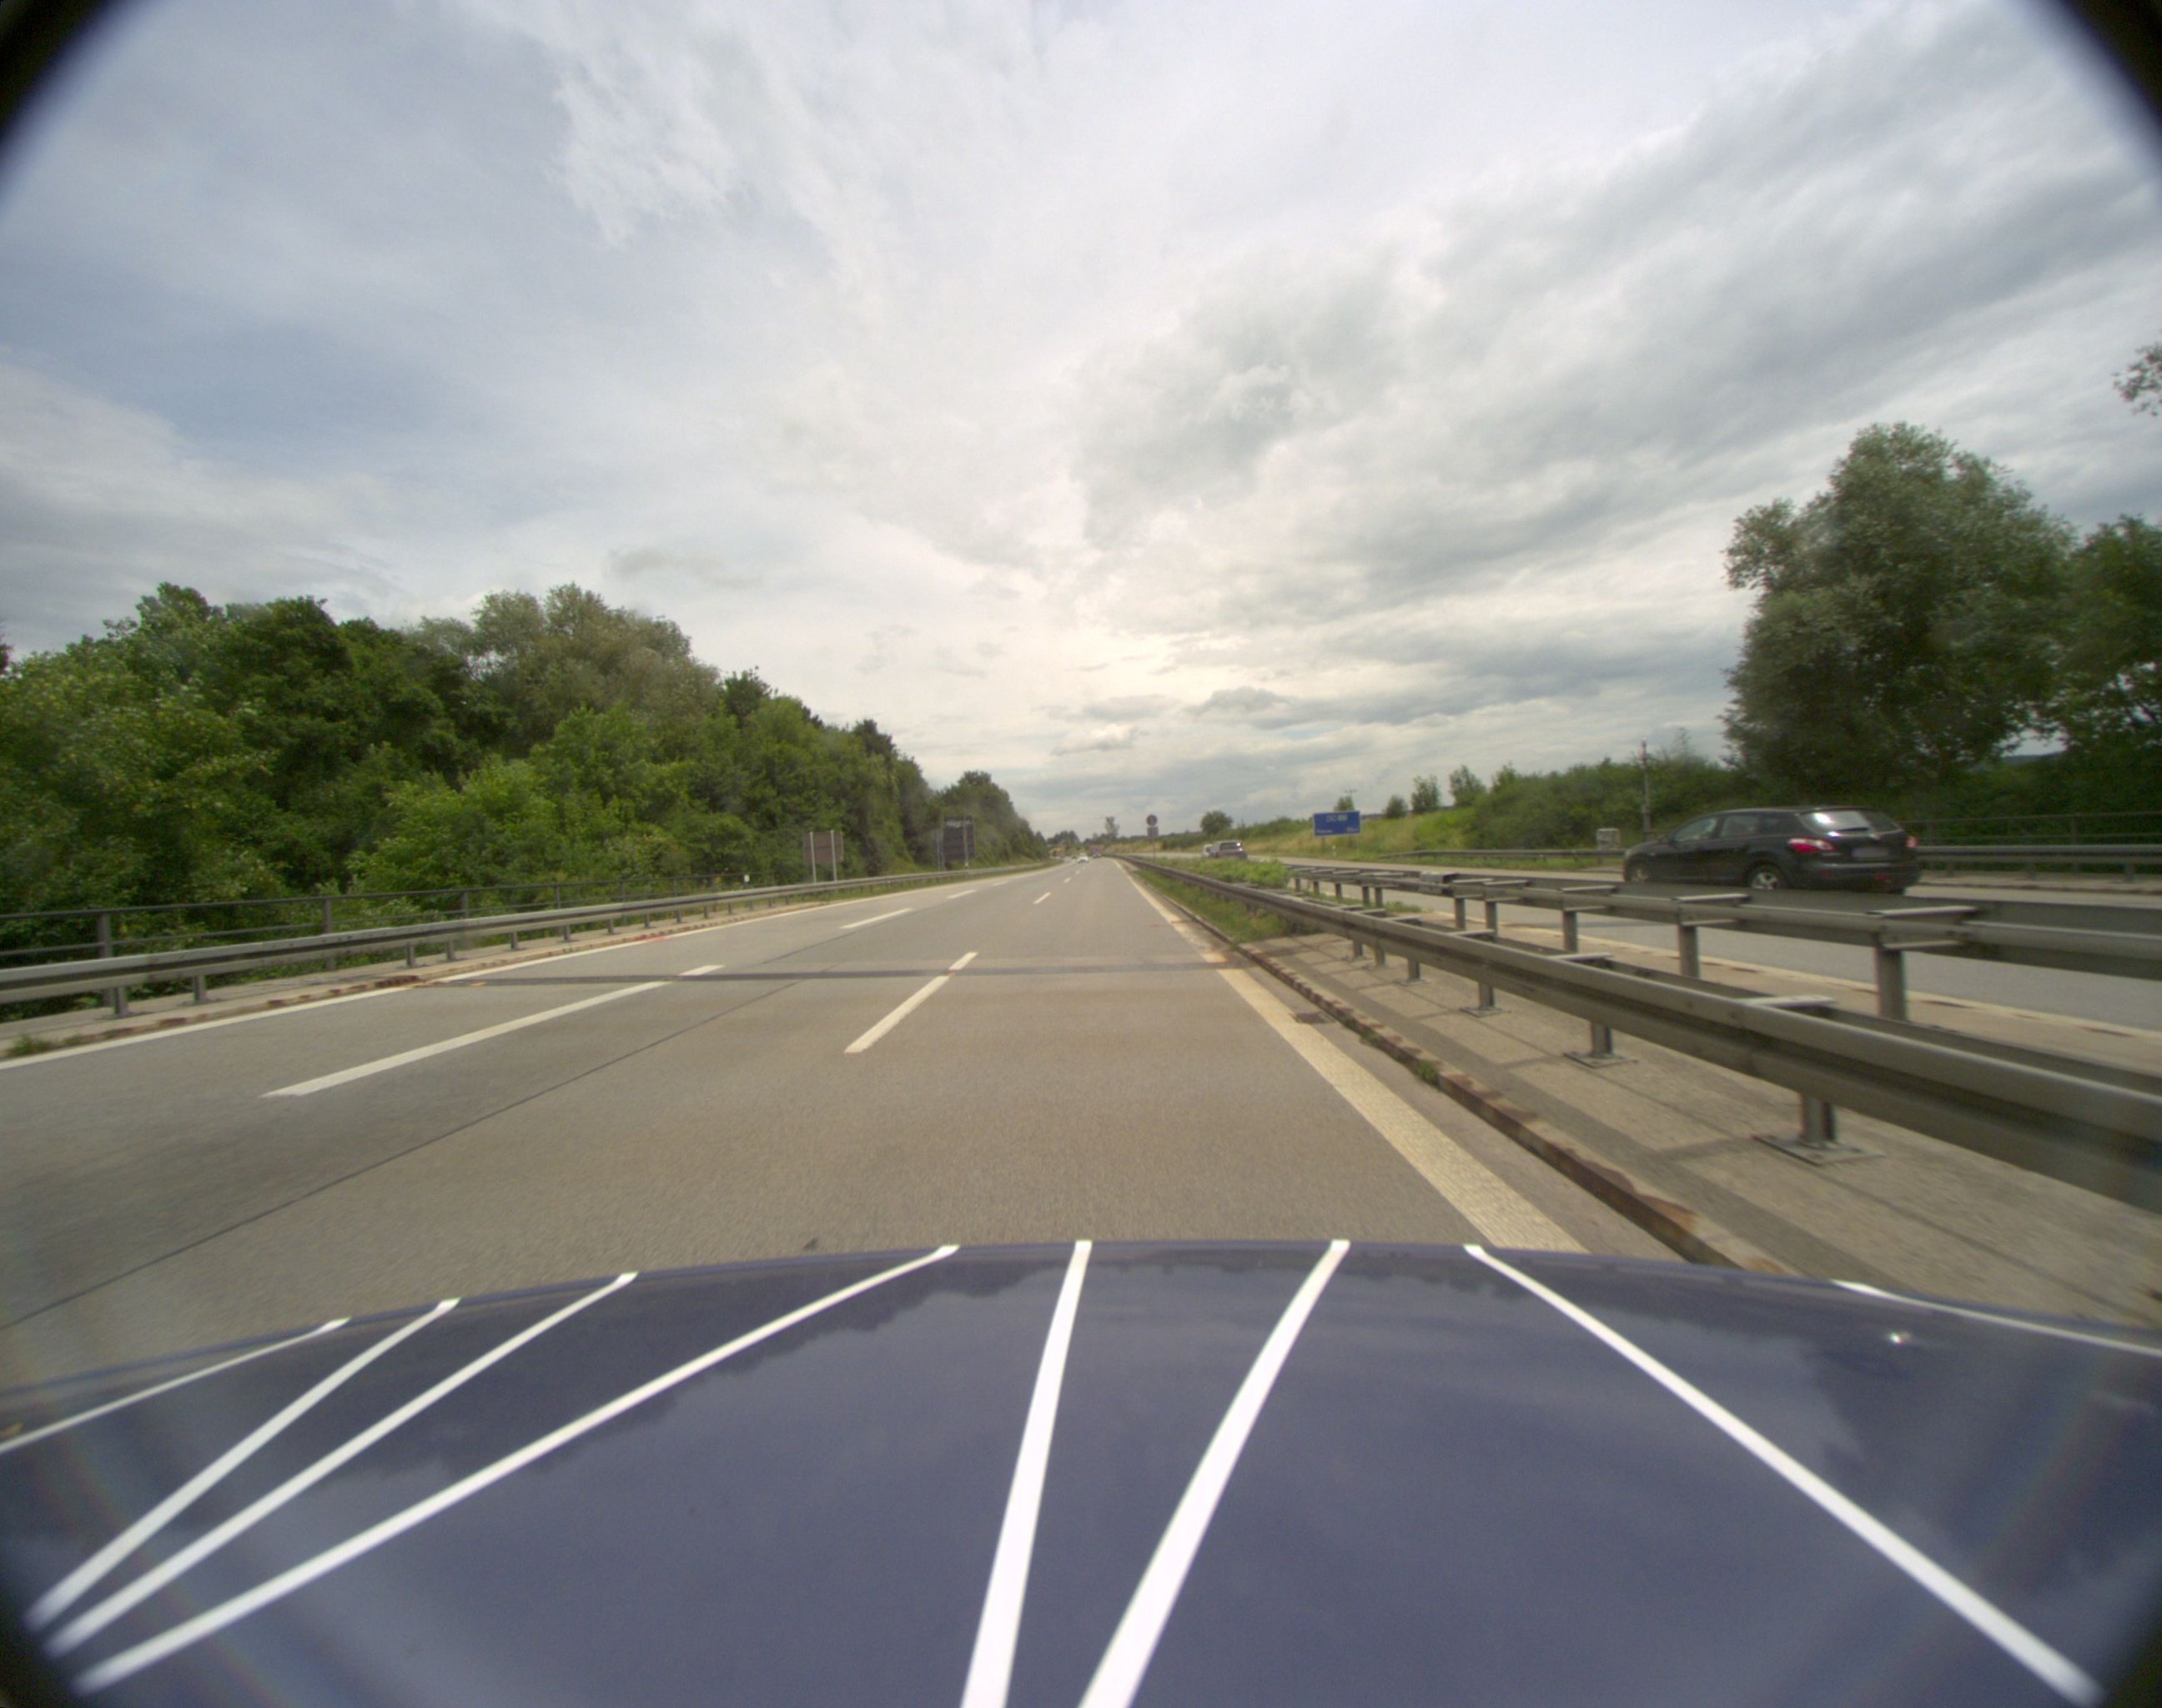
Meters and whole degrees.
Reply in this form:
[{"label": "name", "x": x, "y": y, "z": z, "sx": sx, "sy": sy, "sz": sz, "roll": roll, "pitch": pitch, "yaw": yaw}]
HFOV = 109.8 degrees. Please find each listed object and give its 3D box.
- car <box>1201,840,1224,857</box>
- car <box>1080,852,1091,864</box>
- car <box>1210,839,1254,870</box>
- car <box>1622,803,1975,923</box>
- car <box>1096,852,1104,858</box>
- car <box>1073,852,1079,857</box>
[{"label": "car", "x": 13.488, "y": -0.584, "z": 78.066, "sx": 1.654, "sy": 1.483, "sz": 4.282, "roll": -5, "pitch": 1, "yaw": 2}, {"label": "car", "x": 0.828, "y": 0.701, "z": 131.838, "sx": 1.775, "sy": 1.813, "sz": 4.165, "roll": -3, "pitch": 0, "yaw": -1}, {"label": "car", "x": 8.649, "y": -0.001, "z": 43.823, "sx": 1.729, "sy": 1.641, "sz": 4.223, "roll": -3, "pitch": 1, "yaw": 2}, {"label": "car", "x": 11.179, "y": 0.099, "z": 12.379, "sx": 1.733, "sy": 1.551, "sz": 4.331, "roll": -2, "pitch": 1, "yaw": 2}, {"label": "car", "x": 4.805, "y": 0.193, "z": 193.767, "sx": 1.775, "sy": 1.474, "sz": 4.695, "roll": -3, "pitch": 1, "yaw": -3}, {"label": "car", "x": -1.667, "y": 0.230, "z": 245.065, "sx": 1.509, "sy": 1.474, "sz": 4.037, "roll": -3, "pitch": 1, "yaw": -3}]
